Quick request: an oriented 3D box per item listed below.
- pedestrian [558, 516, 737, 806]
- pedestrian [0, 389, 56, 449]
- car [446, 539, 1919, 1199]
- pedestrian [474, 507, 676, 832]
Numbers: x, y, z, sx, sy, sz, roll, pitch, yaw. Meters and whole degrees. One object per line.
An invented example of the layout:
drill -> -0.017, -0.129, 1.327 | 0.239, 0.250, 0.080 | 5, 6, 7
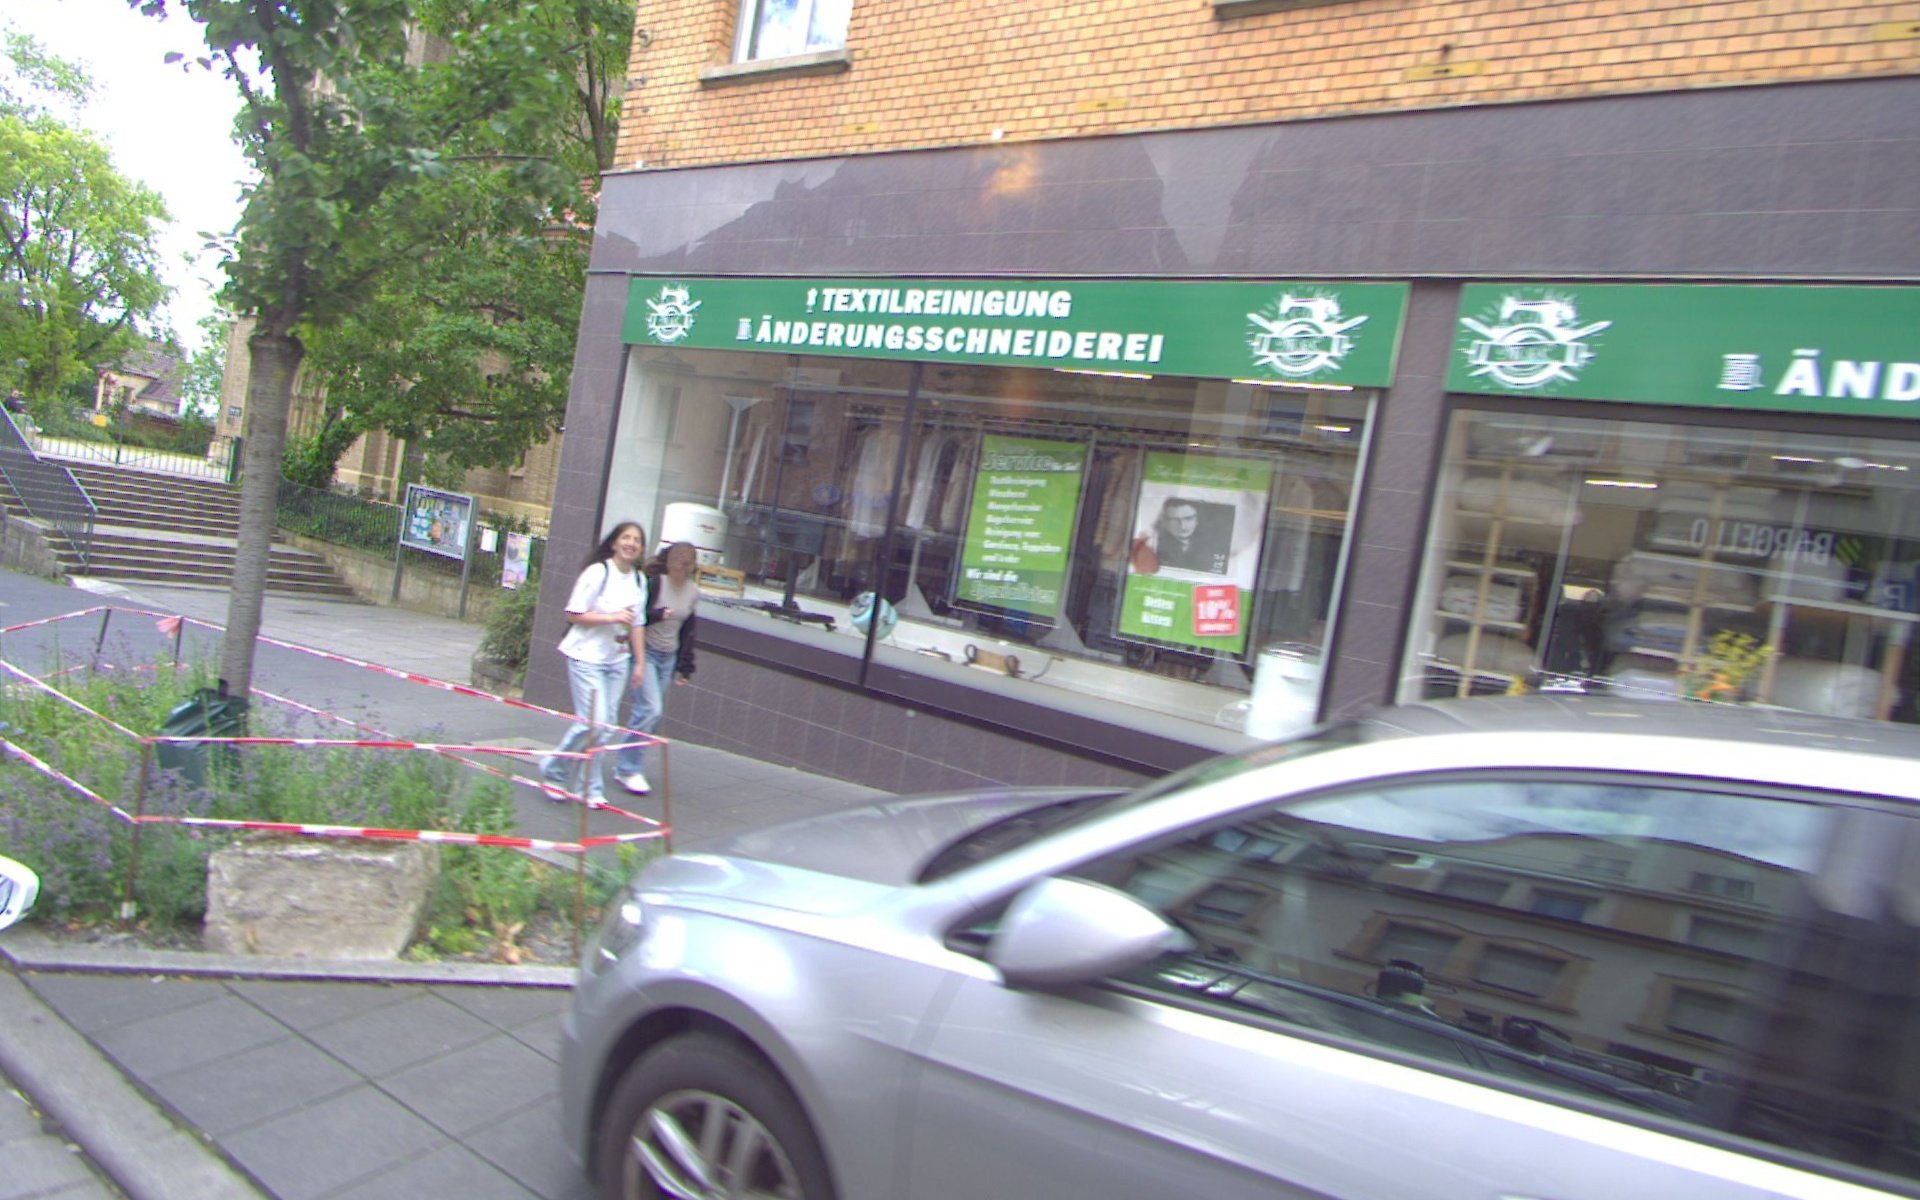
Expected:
pedestrian -> -1.954, 0.359, 6.308 | 0.658, 1.654, 0.672 | 7, 3, 29
pedestrian -> -23.175, -4.458, 24.821 | 0.968, 1.246, 0.991 | 7, 0, 34
car -> 1.066, 0.842, 1.939 | 4.006, 1.485, 1.749 | 7, 2, 31
pedestrian -> -2.157, 0.362, 5.655 | 0.658, 1.654, 0.672 | 7, 3, 29
